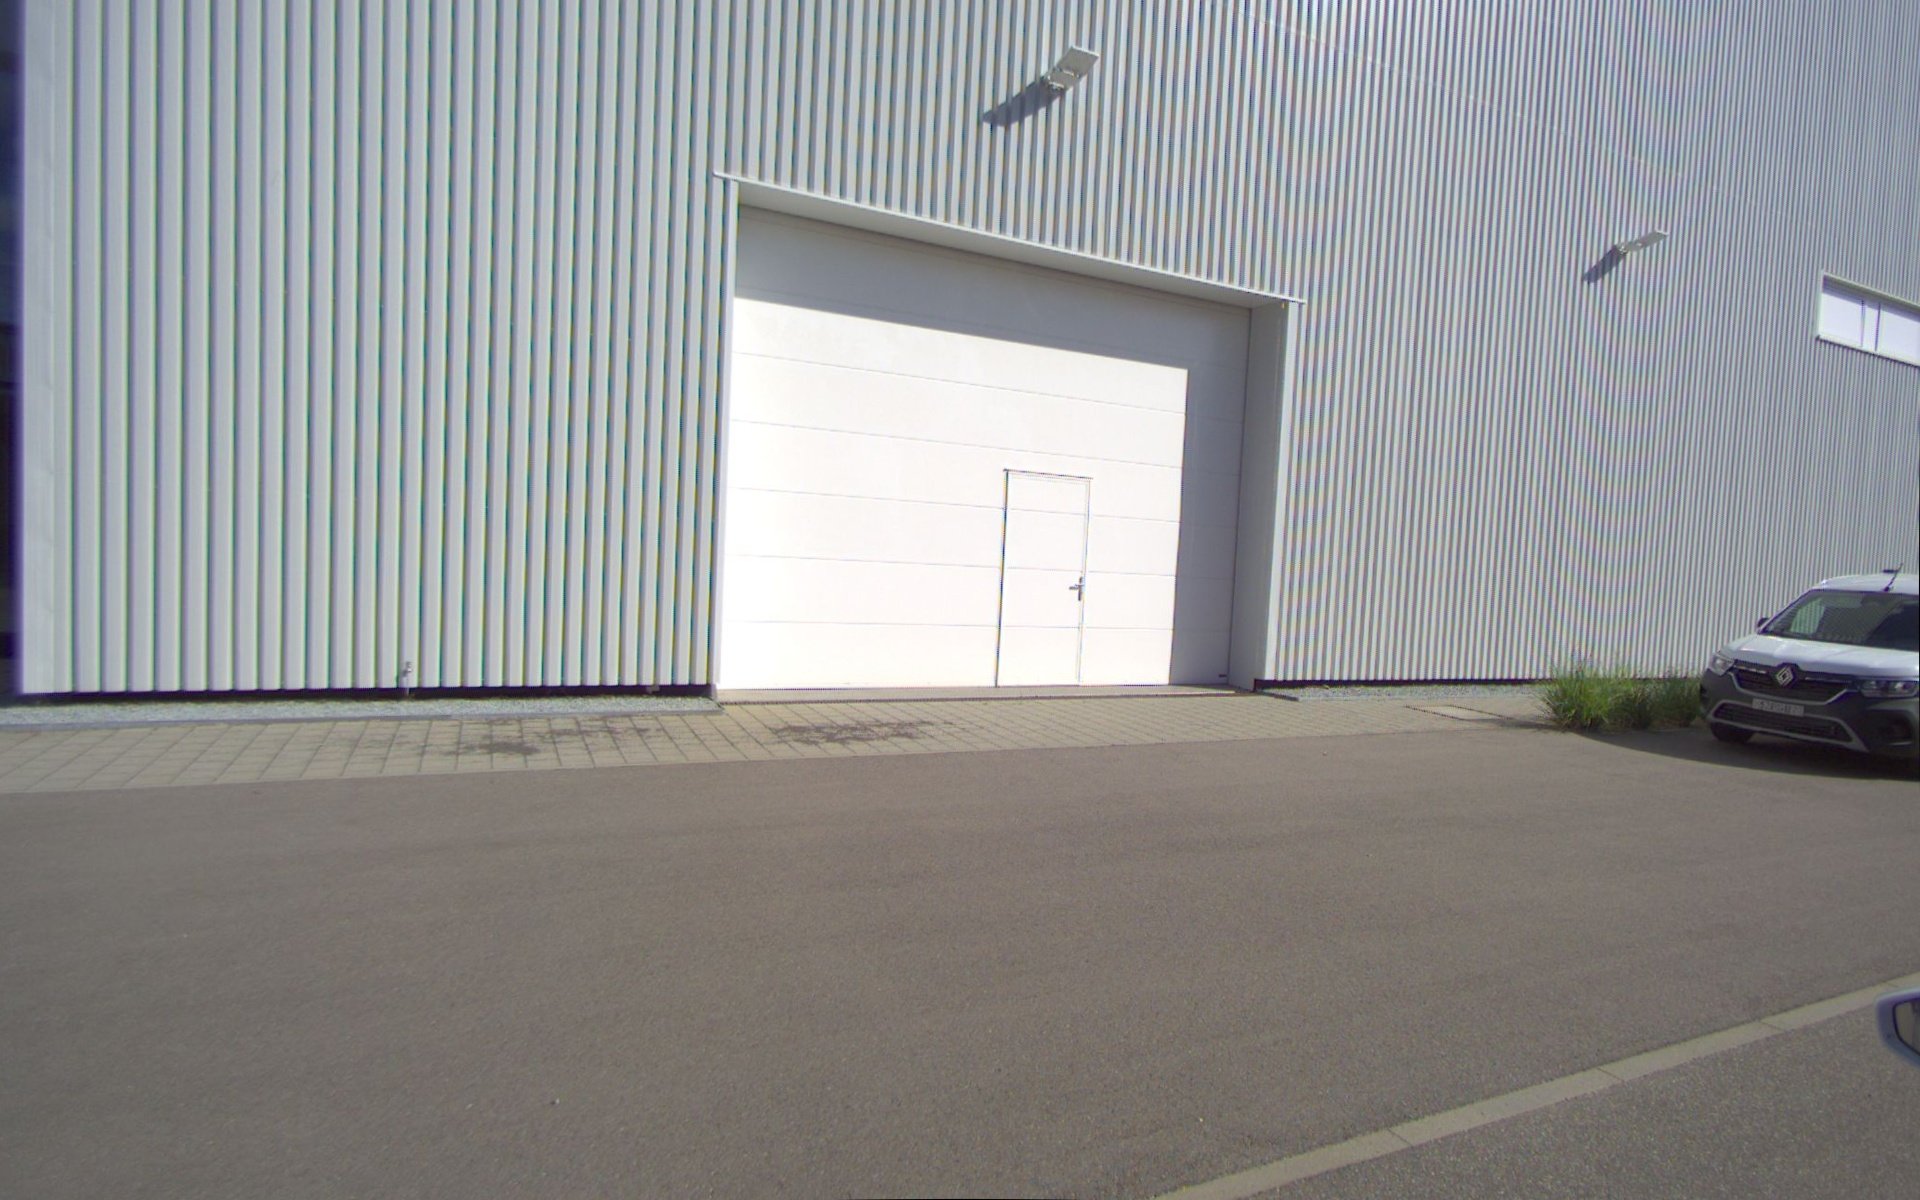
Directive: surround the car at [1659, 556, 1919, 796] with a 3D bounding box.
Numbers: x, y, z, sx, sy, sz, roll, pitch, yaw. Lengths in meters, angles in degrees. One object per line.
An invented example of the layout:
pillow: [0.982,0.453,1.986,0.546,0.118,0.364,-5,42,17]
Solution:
car: [9.263,0.648,9.966,4.302,1.870,1.883,2,4,-27]
